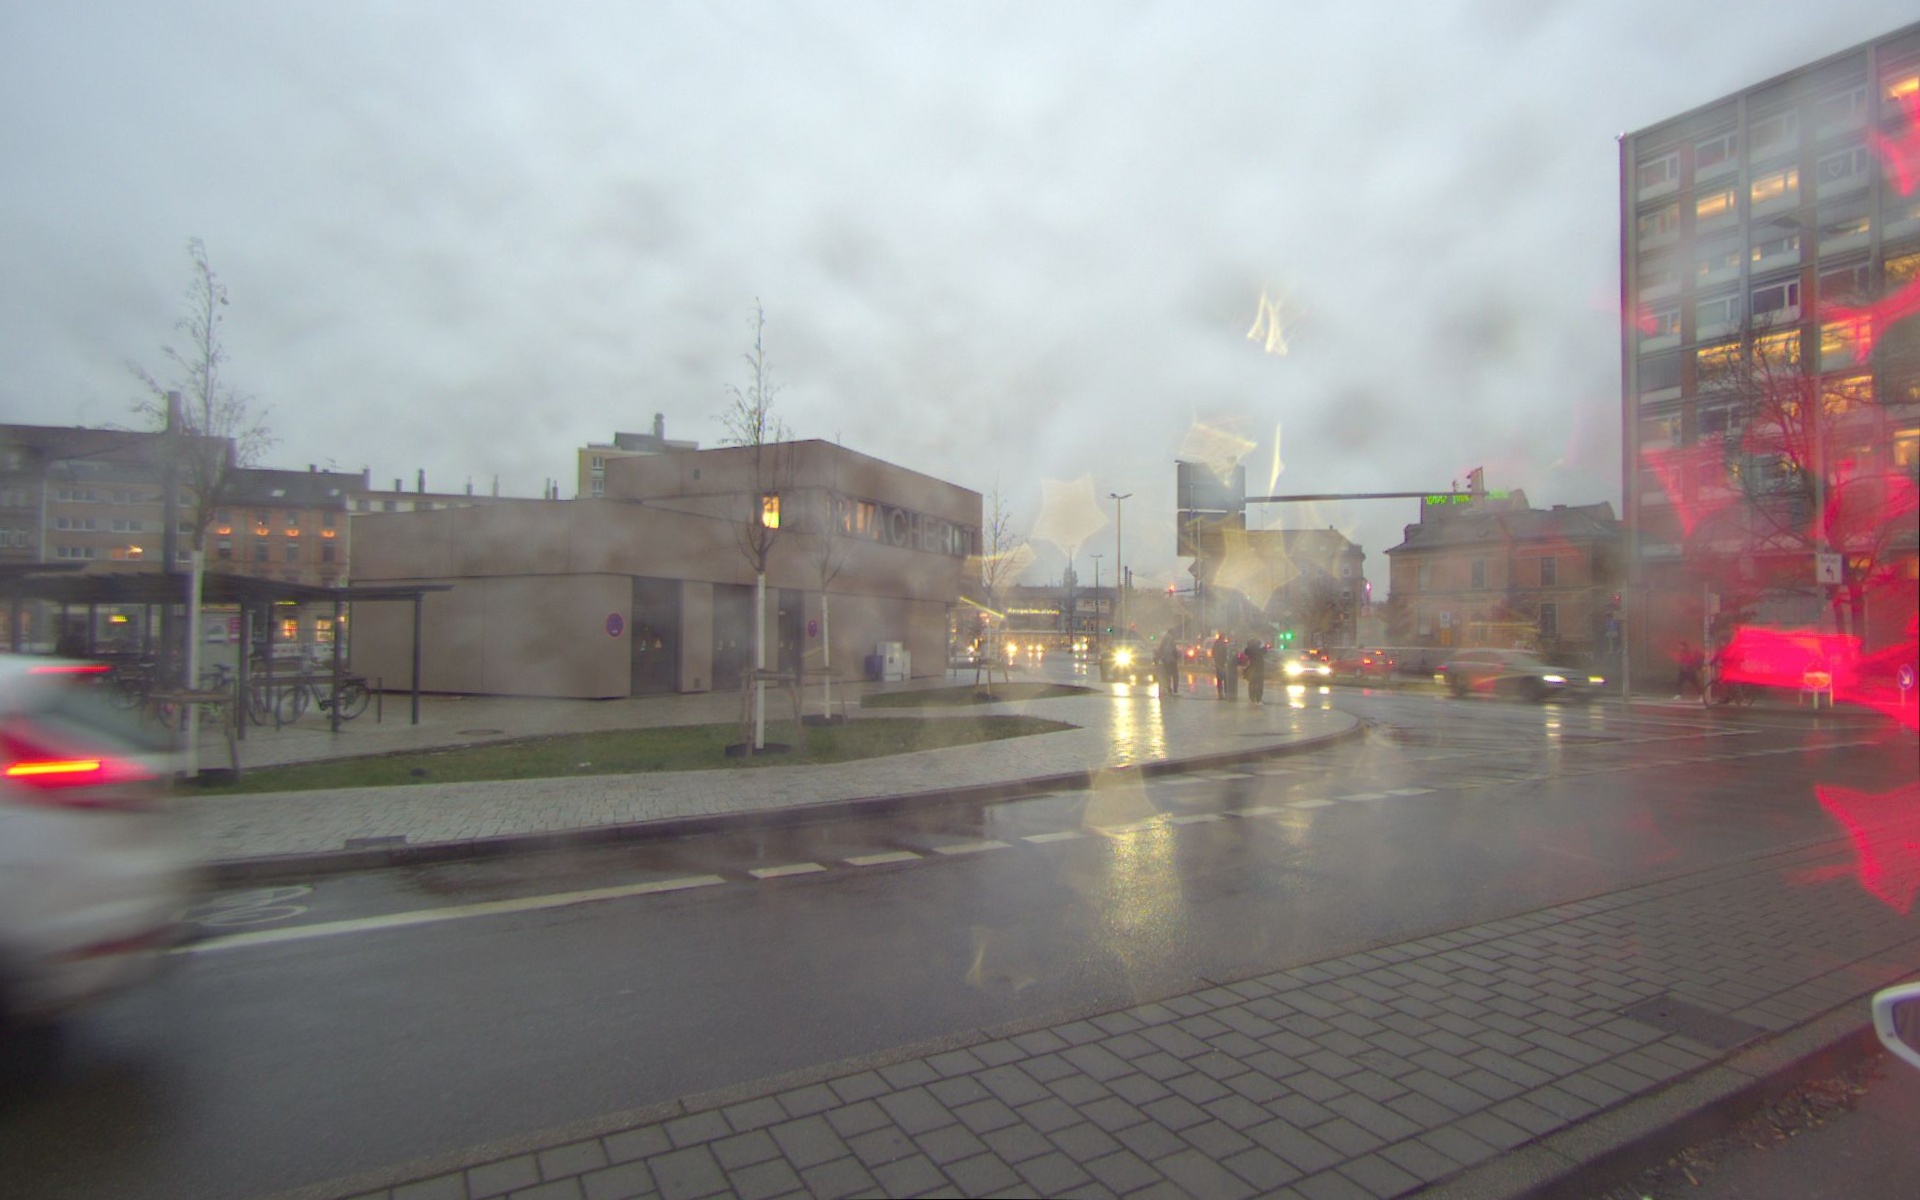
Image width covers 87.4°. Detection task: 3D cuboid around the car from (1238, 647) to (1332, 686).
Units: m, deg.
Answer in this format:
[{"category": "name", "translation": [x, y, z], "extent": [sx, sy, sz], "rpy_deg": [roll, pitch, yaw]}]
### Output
[{"category": "car", "translation": [13.593, 2.756, 42.337], "extent": [1.779, 1.496, 4.664], "rpy_deg": [1, -3, -10]}]

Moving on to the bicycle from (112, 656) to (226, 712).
[{"category": "bicycle", "translation": [-16.526, 1.732, 21.039], "extent": [0.466, 1.087, 1.830], "rpy_deg": [1, -2, 26]}]

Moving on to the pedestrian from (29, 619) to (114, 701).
[{"category": "pedestrian", "translation": [-19.838, 1.333, 22.447], "extent": [0.992, 1.787, 1.067], "rpy_deg": [-1, -2, 22]}]

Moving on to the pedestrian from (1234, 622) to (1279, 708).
[{"category": "pedestrian", "translation": [7.204, 1.573, 24.382], "extent": [0.971, 2.047, 0.802], "rpy_deg": [-1, -2, 19]}]

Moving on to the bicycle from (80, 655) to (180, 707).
[{"category": "bicycle", "translation": [-17.683, 1.707, 21.432], "extent": [0.511, 1.050, 1.573], "rpy_deg": [1, -2, 19]}]

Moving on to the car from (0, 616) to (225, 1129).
[{"category": "car", "translation": [-4.418, 0.791, 2.818], "extent": [3.675, 1.467, 1.729], "rpy_deg": [2, -5, -34]}]

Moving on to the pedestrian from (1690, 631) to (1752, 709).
[{"category": "pedestrian", "translation": [20.214, 1.848, 26.682], "extent": [0.946, 2.004, 0.925], "rpy_deg": [0, -2, -24]}]

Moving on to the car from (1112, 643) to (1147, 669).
[{"category": "car", "translation": [10.608, 3.505, 63.208], "extent": [1.774, 1.496, 4.675], "rpy_deg": [1, -3, 5]}]

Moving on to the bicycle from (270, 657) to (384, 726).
[{"category": "bicycle", "translation": [-11.746, 1.672, 18.719], "extent": [0.605, 1.172, 1.755], "rpy_deg": [1, -2, 20]}]

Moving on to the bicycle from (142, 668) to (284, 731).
[{"category": "bicycle", "translation": [-12.932, 1.699, 17.458], "extent": [0.466, 0.989, 1.923], "rpy_deg": [1, -2, 29]}]

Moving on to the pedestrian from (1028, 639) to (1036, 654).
[{"category": "pedestrian", "translation": [9.848, 6.421, 137.444], "extent": [0.960, 2.040, 0.920], "rpy_deg": [-1, -2, 11]}]

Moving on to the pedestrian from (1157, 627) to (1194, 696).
[{"category": "pedestrian", "translation": [5.929, 1.676, 27.654], "extent": [0.671, 1.863, 0.726], "rpy_deg": [1, -3, -42]}]

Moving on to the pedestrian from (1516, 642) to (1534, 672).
[{"category": "pedestrian", "translation": [32.483, 3.247, 57.722], "extent": [0.626, 1.710, 0.640], "rpy_deg": [0, -2, -13]}]

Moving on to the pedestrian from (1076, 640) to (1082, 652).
[{"category": "pedestrian", "translation": [20.209, 7.814, 170.181], "extent": [0.960, 2.040, 0.920], "rpy_deg": [-1, -2, 11]}]

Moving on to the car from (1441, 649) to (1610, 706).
[{"category": "car", "translation": [16.278, 2.183, 29.229], "extent": [1.778, 1.496, 4.665], "rpy_deg": [1, -3, -9]}]

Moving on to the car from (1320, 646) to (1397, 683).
[{"category": "car", "translation": [20.501, 3.301, 51.815], "extent": [1.795, 1.589, 3.991], "rpy_deg": [2, 0, -11]}]

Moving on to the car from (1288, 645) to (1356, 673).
[{"category": "car", "translation": [20.907, 3.398, 58.075], "extent": [3.364, 1.481, 1.515], "rpy_deg": [2, 0, -1]}]

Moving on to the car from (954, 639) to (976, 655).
[{"category": "car", "translation": [0.469, 4.756, 101.415], "extent": [1.649, 1.598, 3.420], "rpy_deg": [0, -2, -9]}]

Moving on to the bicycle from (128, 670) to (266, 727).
[{"category": "bicycle", "translation": [-13.583, 1.734, 17.951], "extent": [0.466, 0.903, 1.923], "rpy_deg": [1, -2, 29]}]

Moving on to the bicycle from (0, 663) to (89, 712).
[{"category": "bicycle", "translation": [-18.505, 1.729, 19.989], "extent": [0.466, 0.903, 1.693], "rpy_deg": [1, -2, 24]}]

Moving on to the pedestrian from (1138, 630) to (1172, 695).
[{"category": "pedestrian", "translation": [5.469, 1.735, 28.173], "extent": [0.544, 1.793, 0.734], "rpy_deg": [1, -3, -43]}]

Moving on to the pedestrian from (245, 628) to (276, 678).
[{"category": "pedestrian", "translation": [-24.062, 1.808, 34.556], "extent": [0.517, 1.688, 0.701], "rpy_deg": [-1, -2, 10]}]

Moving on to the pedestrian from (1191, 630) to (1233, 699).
[{"category": "pedestrian", "translation": [6.698, 1.704, 26.704], "extent": [0.838, 1.778, 0.659], "rpy_deg": [0, -2, -14]}]

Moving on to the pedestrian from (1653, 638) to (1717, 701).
[{"category": "pedestrian", "translation": [22.270, 2.123, 30.870], "extent": [1.118, 1.867, 1.003], "rpy_deg": [-2, -2, -9]}]

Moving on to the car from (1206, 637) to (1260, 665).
[{"category": "car", "translation": [19.626, 3.643, 72.351], "extent": [3.514, 1.850, 1.672], "rpy_deg": [2, 0, 8]}]

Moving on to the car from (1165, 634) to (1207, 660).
[{"category": "car", "translation": [15.762, 3.248, 70.128], "extent": [1.792, 1.589, 3.998], "rpy_deg": [2, 0, -3]}]

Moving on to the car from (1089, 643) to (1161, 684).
[{"category": "car", "translation": [6.815, 2.609, 41.931], "extent": [1.743, 1.598, 3.994], "rpy_deg": [0, -2, -10]}]

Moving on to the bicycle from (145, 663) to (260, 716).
[{"category": "bicycle", "translation": [-15.176, 1.775, 20.174], "extent": [0.466, 0.968, 1.767], "rpy_deg": [1, -2, 29]}]

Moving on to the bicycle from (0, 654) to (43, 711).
[{"category": "bicycle", "translation": [-19.390, 1.629, 19.838], "extent": [0.466, 1.122, 1.797], "rpy_deg": [1, -2, 29]}]
